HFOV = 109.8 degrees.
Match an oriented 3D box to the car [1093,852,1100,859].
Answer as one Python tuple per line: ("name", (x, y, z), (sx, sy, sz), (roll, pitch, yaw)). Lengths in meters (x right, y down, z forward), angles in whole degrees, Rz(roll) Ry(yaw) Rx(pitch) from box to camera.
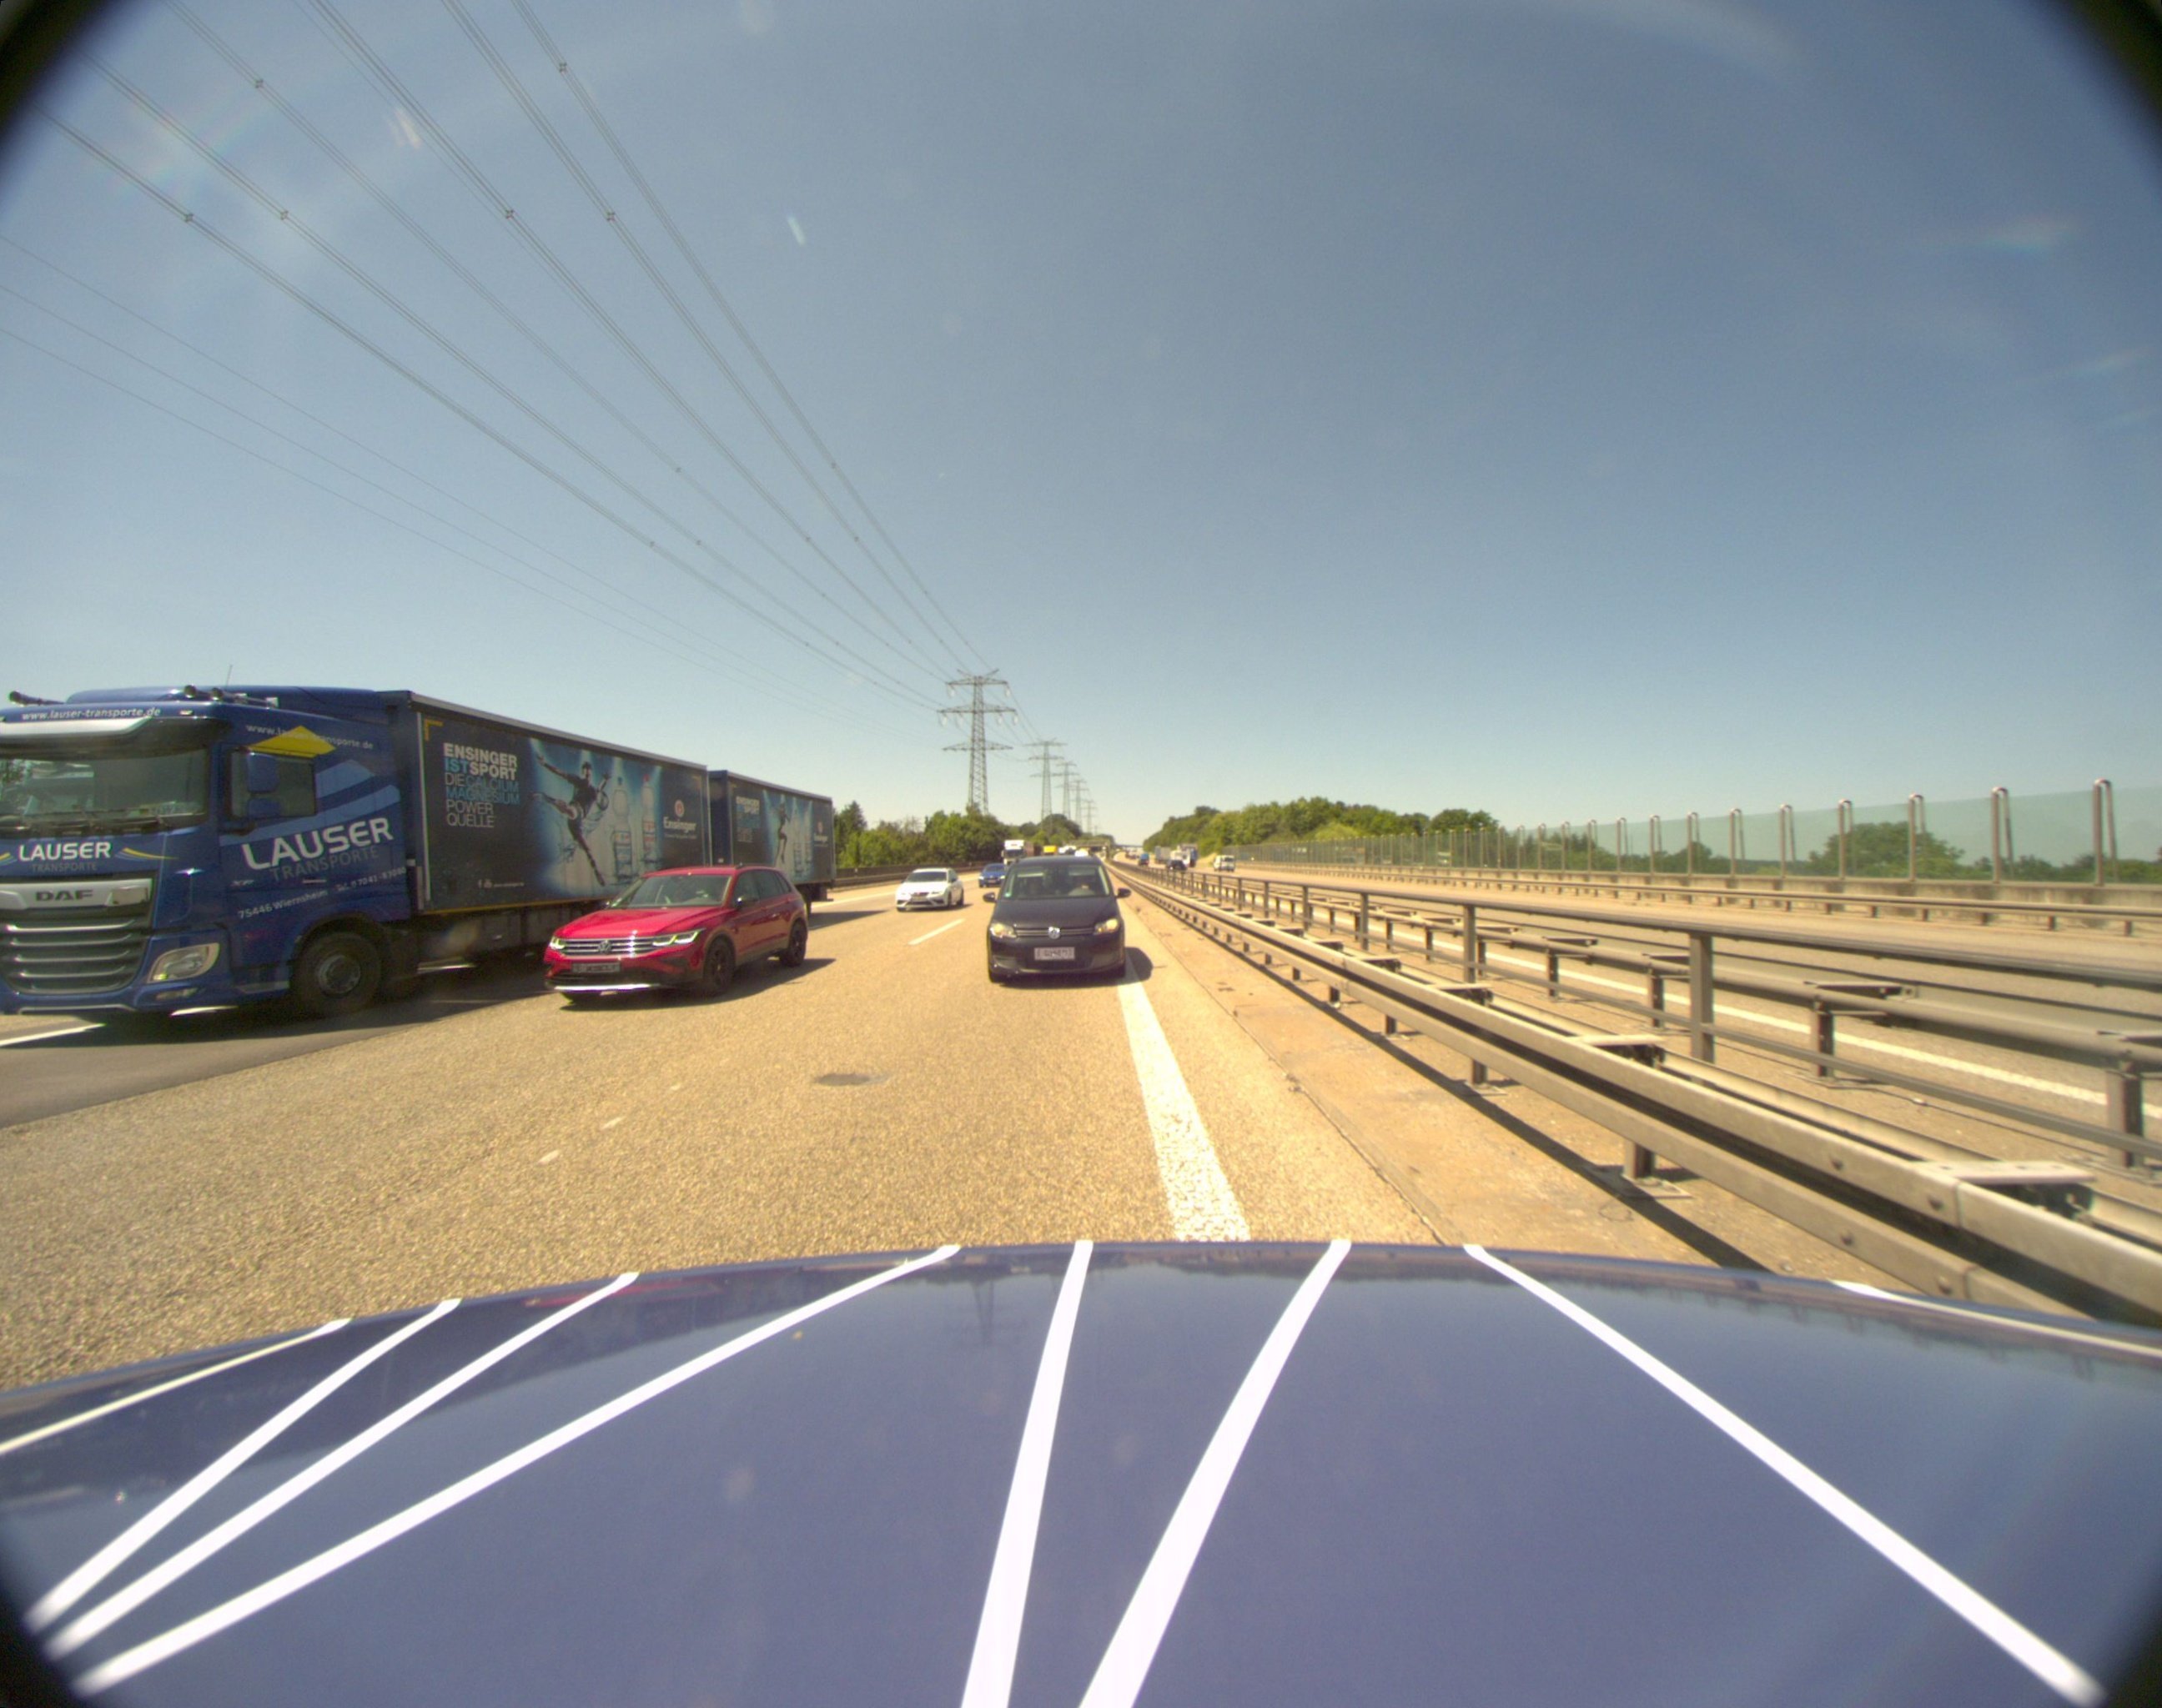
("car", (4.819, 0.470, 232.516), (1.998, 2.002, 4.000), (-2, 0, 0))

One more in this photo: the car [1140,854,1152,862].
("car", (11.660, 0.765, 136.104), (1.853, 1.386, 4.000), (2, 0, 0))

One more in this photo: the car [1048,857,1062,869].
("car", (-3.522, 1.180, 102.049), (1.763, 1.495, 4.094), (-1, 0, -1))

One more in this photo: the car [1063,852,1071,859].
("car", (-3.853, 0.444, 203.567), (1.998, 2.002, 4.000), (0, 0, 1))

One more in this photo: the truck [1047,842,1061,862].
("truck", (-5.759, -0.431, 163.272), (2.346, 4.057, 8.279), (-2, 0, 1))

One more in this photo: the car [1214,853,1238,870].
("car", (17.811, 0.886, 93.515), (2.039, 1.972, 4.489), (2, 0, 0))

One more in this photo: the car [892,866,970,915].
("car", (-5.177, 1.227, 26.771), (1.843, 1.481, 4.072), (-2, 0, 1))

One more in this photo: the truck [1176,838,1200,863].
("truck", (18.517, -0.540, 131.605), (2.876, 4.062, 9.989), (1, 0, 1))

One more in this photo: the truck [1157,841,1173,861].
("truck", (19.349, -0.697, 175.309), (2.876, 4.513, 9.989), (1, 0, 1))

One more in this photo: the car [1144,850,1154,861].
("car", (16.294, 0.326, 181.951), (1.986, 2.575, 5.037), (1, 0, 0))

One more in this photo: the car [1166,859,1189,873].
("car", (9.701, 1.171, 76.377), (1.772, 1.411, 4.266), (0, 0, 0))

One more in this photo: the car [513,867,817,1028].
("car", (-5.259, 1.051, 10.378), (1.779, 1.652, 4.224), (-2, 0, 0))

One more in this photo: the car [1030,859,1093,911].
("car", (-0.568, 0.942, 24.903), (1.845, 1.495, 4.377), (-1, 0, 0))

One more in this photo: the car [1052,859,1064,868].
("car", (-3.781, 1.570, 125.948), (1.763, 1.495, 4.094), (-1, 0, 0))

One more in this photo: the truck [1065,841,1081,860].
("truck", (-1.605, -0.702, 162.622), (2.980, 3.832, 10.562), (-2, 0, 1))

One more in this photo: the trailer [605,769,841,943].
("trailer", (-9.596, 0.055, 21.780), (2.572, 3.921, 8.479), (-2, 0, 0))

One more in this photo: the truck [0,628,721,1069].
("truck", (-9.668, -0.043, 12.273), (2.529, 4.043, 10.446), (-2, 0, 0))

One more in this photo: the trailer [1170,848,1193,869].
("trailer", (13.745, 0.643, 104.487), (2.322, 2.690, 6.361), (1, 0, 0))

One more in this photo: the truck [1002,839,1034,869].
("truck", (-7.959, 0.036, 97.940), (2.985, 3.538, 10.967), (-2, 0, 0))

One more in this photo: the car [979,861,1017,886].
("car", (-5.195, 1.209, 48.004), (1.739, 1.437, 4.211), (-2, 0, 2))

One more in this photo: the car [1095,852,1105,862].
("car", (4.179, 0.627, 168.647), (1.998, 2.002, 4.000), (-2, 0, 1))

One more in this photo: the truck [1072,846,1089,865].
("truck", (-0.059, 0.165, 107.151), (2.284, 2.479, 5.861), (-2, 0, 0))

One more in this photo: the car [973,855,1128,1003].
("car", (-0.355, 0.877, 10.856), (1.740, 1.652, 4.000), (-2, 0, 0))

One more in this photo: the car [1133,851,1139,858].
("car", (18.939, 0.179, 261.273), (1.986, 2.058, 4.239), (1, 0, 0))
